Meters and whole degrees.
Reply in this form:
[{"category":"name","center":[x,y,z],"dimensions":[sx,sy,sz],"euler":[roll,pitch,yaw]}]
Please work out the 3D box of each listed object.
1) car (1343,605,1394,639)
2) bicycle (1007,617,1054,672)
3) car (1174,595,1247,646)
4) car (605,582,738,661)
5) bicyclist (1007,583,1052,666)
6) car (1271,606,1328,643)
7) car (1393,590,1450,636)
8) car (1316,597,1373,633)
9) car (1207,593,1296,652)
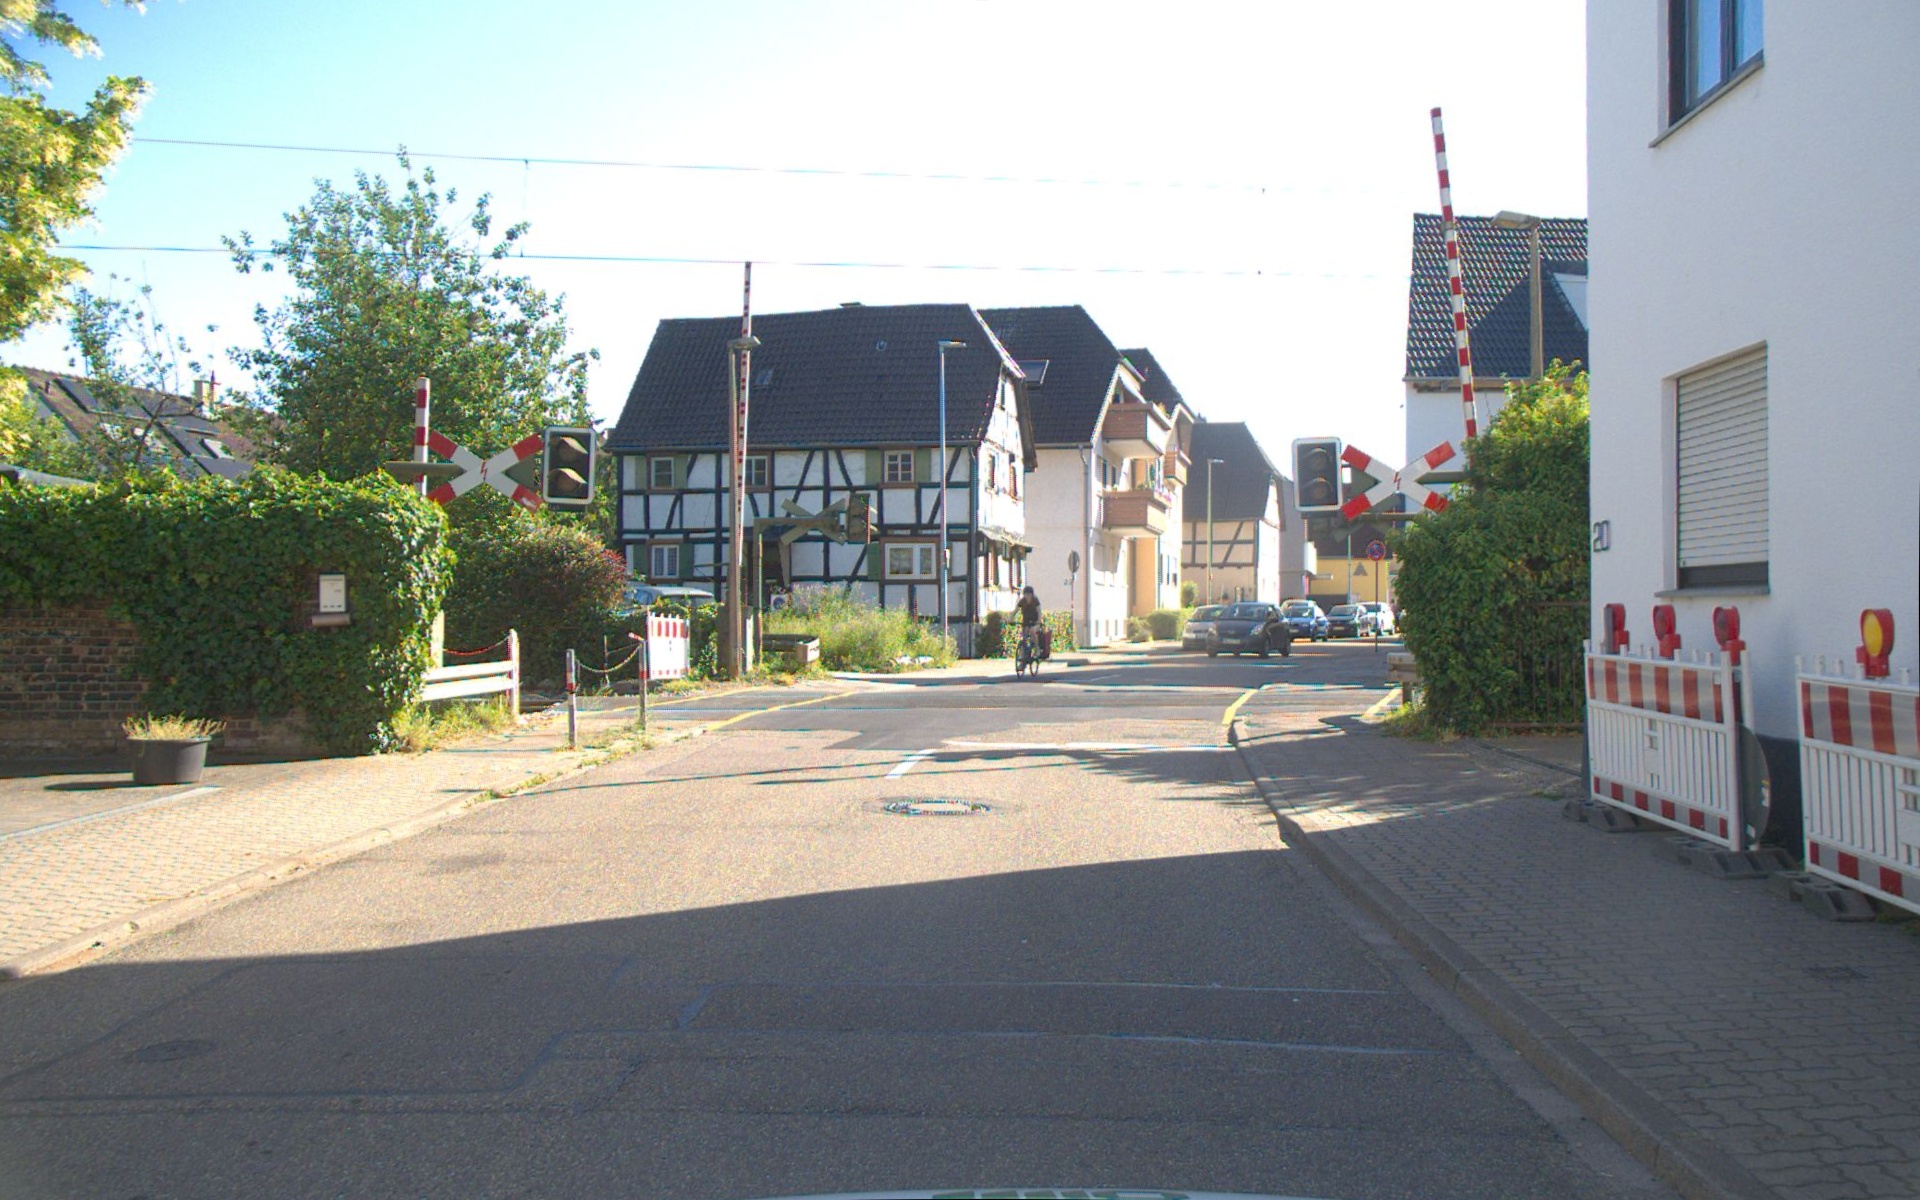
[{"category":"car","center":[19.980,1.063,80.821],"dimensions":[1.640,1.599,3.962],"euler":[-2,-1,25]},{"category":"bicycle","center":[1.355,0.861,32.063],"dimensions":[0.865,1.023,2.063],"euler":[-1,-2,1]},{"category":"car","center":[8.337,0.673,54.872],"dimensions":[1.597,1.532,3.854],"euler":[-3,-1,20]},{"category":"car","center":[-6.306,0.454,35.867],"dimensions":[1.664,1.592,3.963],"euler":[2,-1,-28]},{"category":"bicyclist","center":[1.346,0.484,32.144],"dimensions":[0.830,1.568,0.873],"euler":[-1,-2,1]},{"category":"car","center":[13.931,1.021,67.789],"dimensions":[1.605,1.466,4.074],"euler":[-1,-1,21]},{"category":"car","center":[25.878,0.750,92.606],"dimensions":[2.036,2.436,5.202],"euler":[-2,-2,27]},{"category":"car","center":[17.806,0.700,76.539],"dimensions":[1.670,1.545,4.118],"euler":[-2,-2,26]},{"category":"car","center":[8.207,0.663,46.353],"dimensions":[1.652,1.537,3.653],"euler":[0,-2,23]}]
